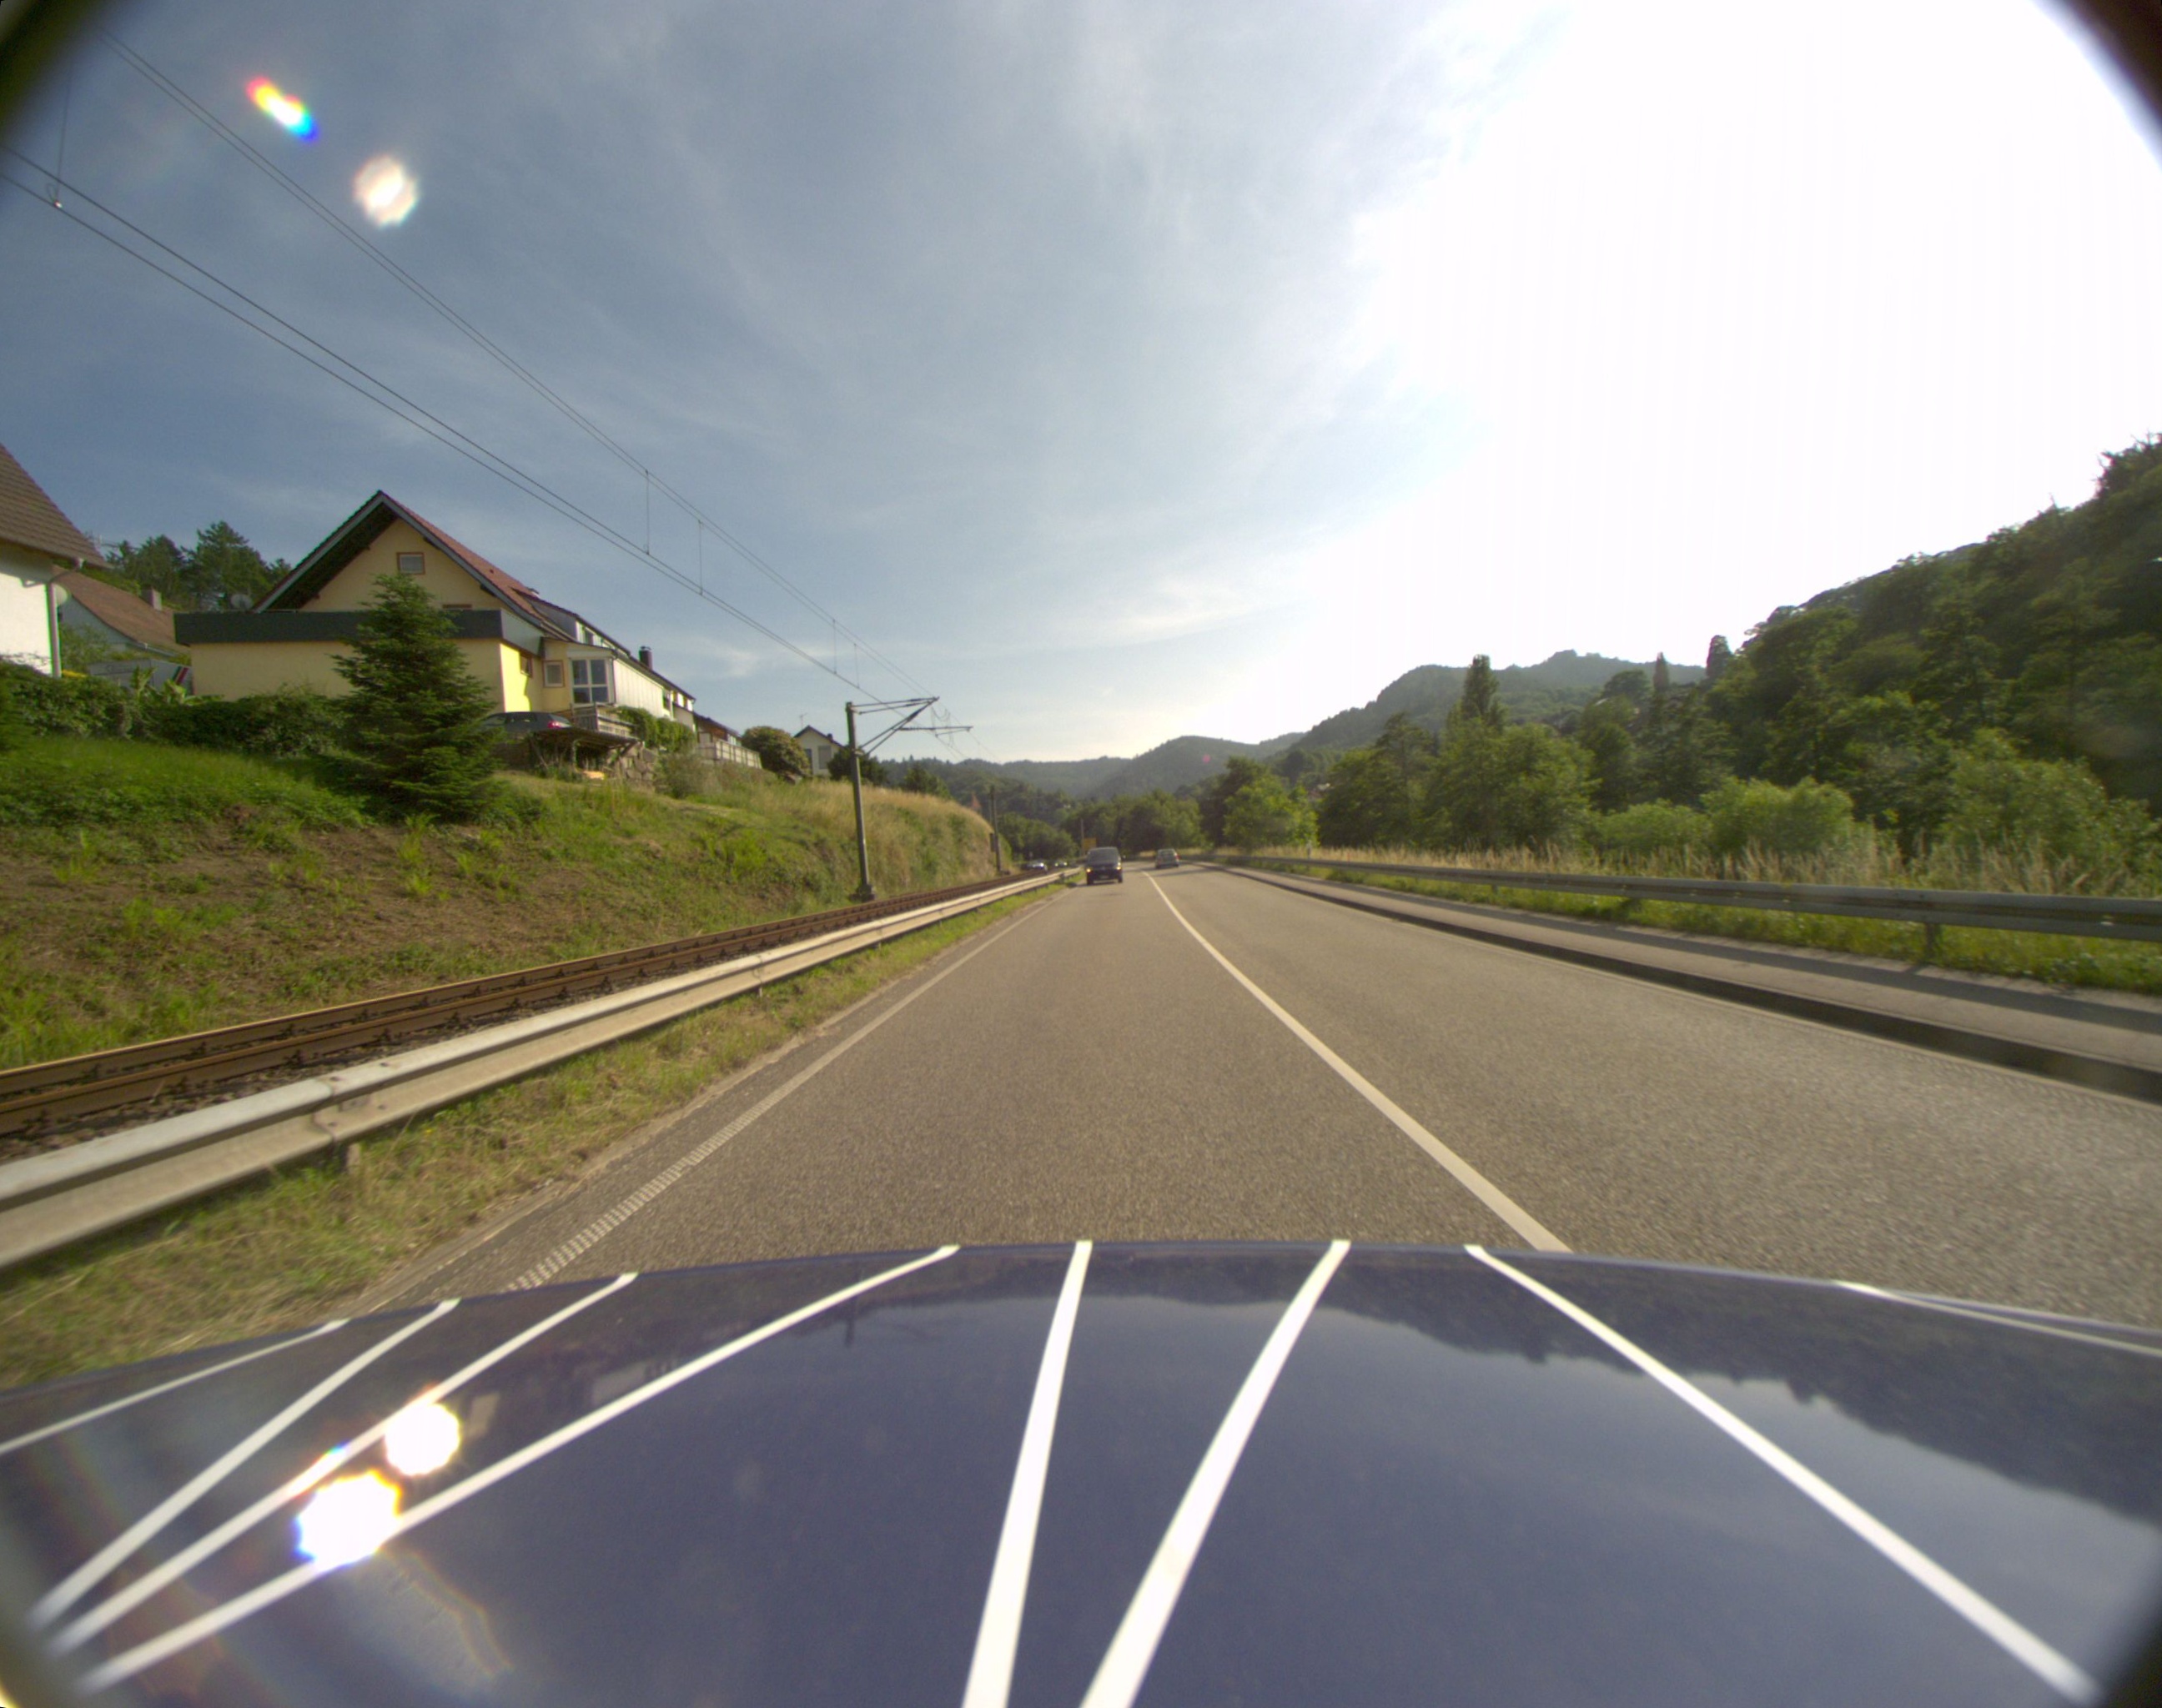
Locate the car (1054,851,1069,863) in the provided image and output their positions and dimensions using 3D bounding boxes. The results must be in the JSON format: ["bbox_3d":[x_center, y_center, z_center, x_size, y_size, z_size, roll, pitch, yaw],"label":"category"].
[{"bbox_3d":[-3.192,0.460,122.656,1.886,1.735,4.176,-4,0,-8],"label":"car"}]

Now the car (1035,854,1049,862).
[{"bbox_3d":[-7.941,0.856,154.876,1.758,1.557,3.995,-4,0,-17],"label":"car"}]

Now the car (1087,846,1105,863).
[{"bbox_3d":[1.740,0.069,87.491,1.885,1.735,4.178,-4,0,0],"label":"car"}]

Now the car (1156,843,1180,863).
[{"bbox_3d":[6.824,-0.087,59.985,1.581,1.471,4.000,-4,0,3],"label":"car"}]

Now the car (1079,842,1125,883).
[{"bbox_3d":[1.164,0.399,39.843,2.017,1.905,4.313,-4,0,5],"label":"car"}]

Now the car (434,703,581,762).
[{"bbox_3d":[-20.736,-4.374,27.611,3.751,1.531,1.751,-7,2,-4],"label":"car"}]
